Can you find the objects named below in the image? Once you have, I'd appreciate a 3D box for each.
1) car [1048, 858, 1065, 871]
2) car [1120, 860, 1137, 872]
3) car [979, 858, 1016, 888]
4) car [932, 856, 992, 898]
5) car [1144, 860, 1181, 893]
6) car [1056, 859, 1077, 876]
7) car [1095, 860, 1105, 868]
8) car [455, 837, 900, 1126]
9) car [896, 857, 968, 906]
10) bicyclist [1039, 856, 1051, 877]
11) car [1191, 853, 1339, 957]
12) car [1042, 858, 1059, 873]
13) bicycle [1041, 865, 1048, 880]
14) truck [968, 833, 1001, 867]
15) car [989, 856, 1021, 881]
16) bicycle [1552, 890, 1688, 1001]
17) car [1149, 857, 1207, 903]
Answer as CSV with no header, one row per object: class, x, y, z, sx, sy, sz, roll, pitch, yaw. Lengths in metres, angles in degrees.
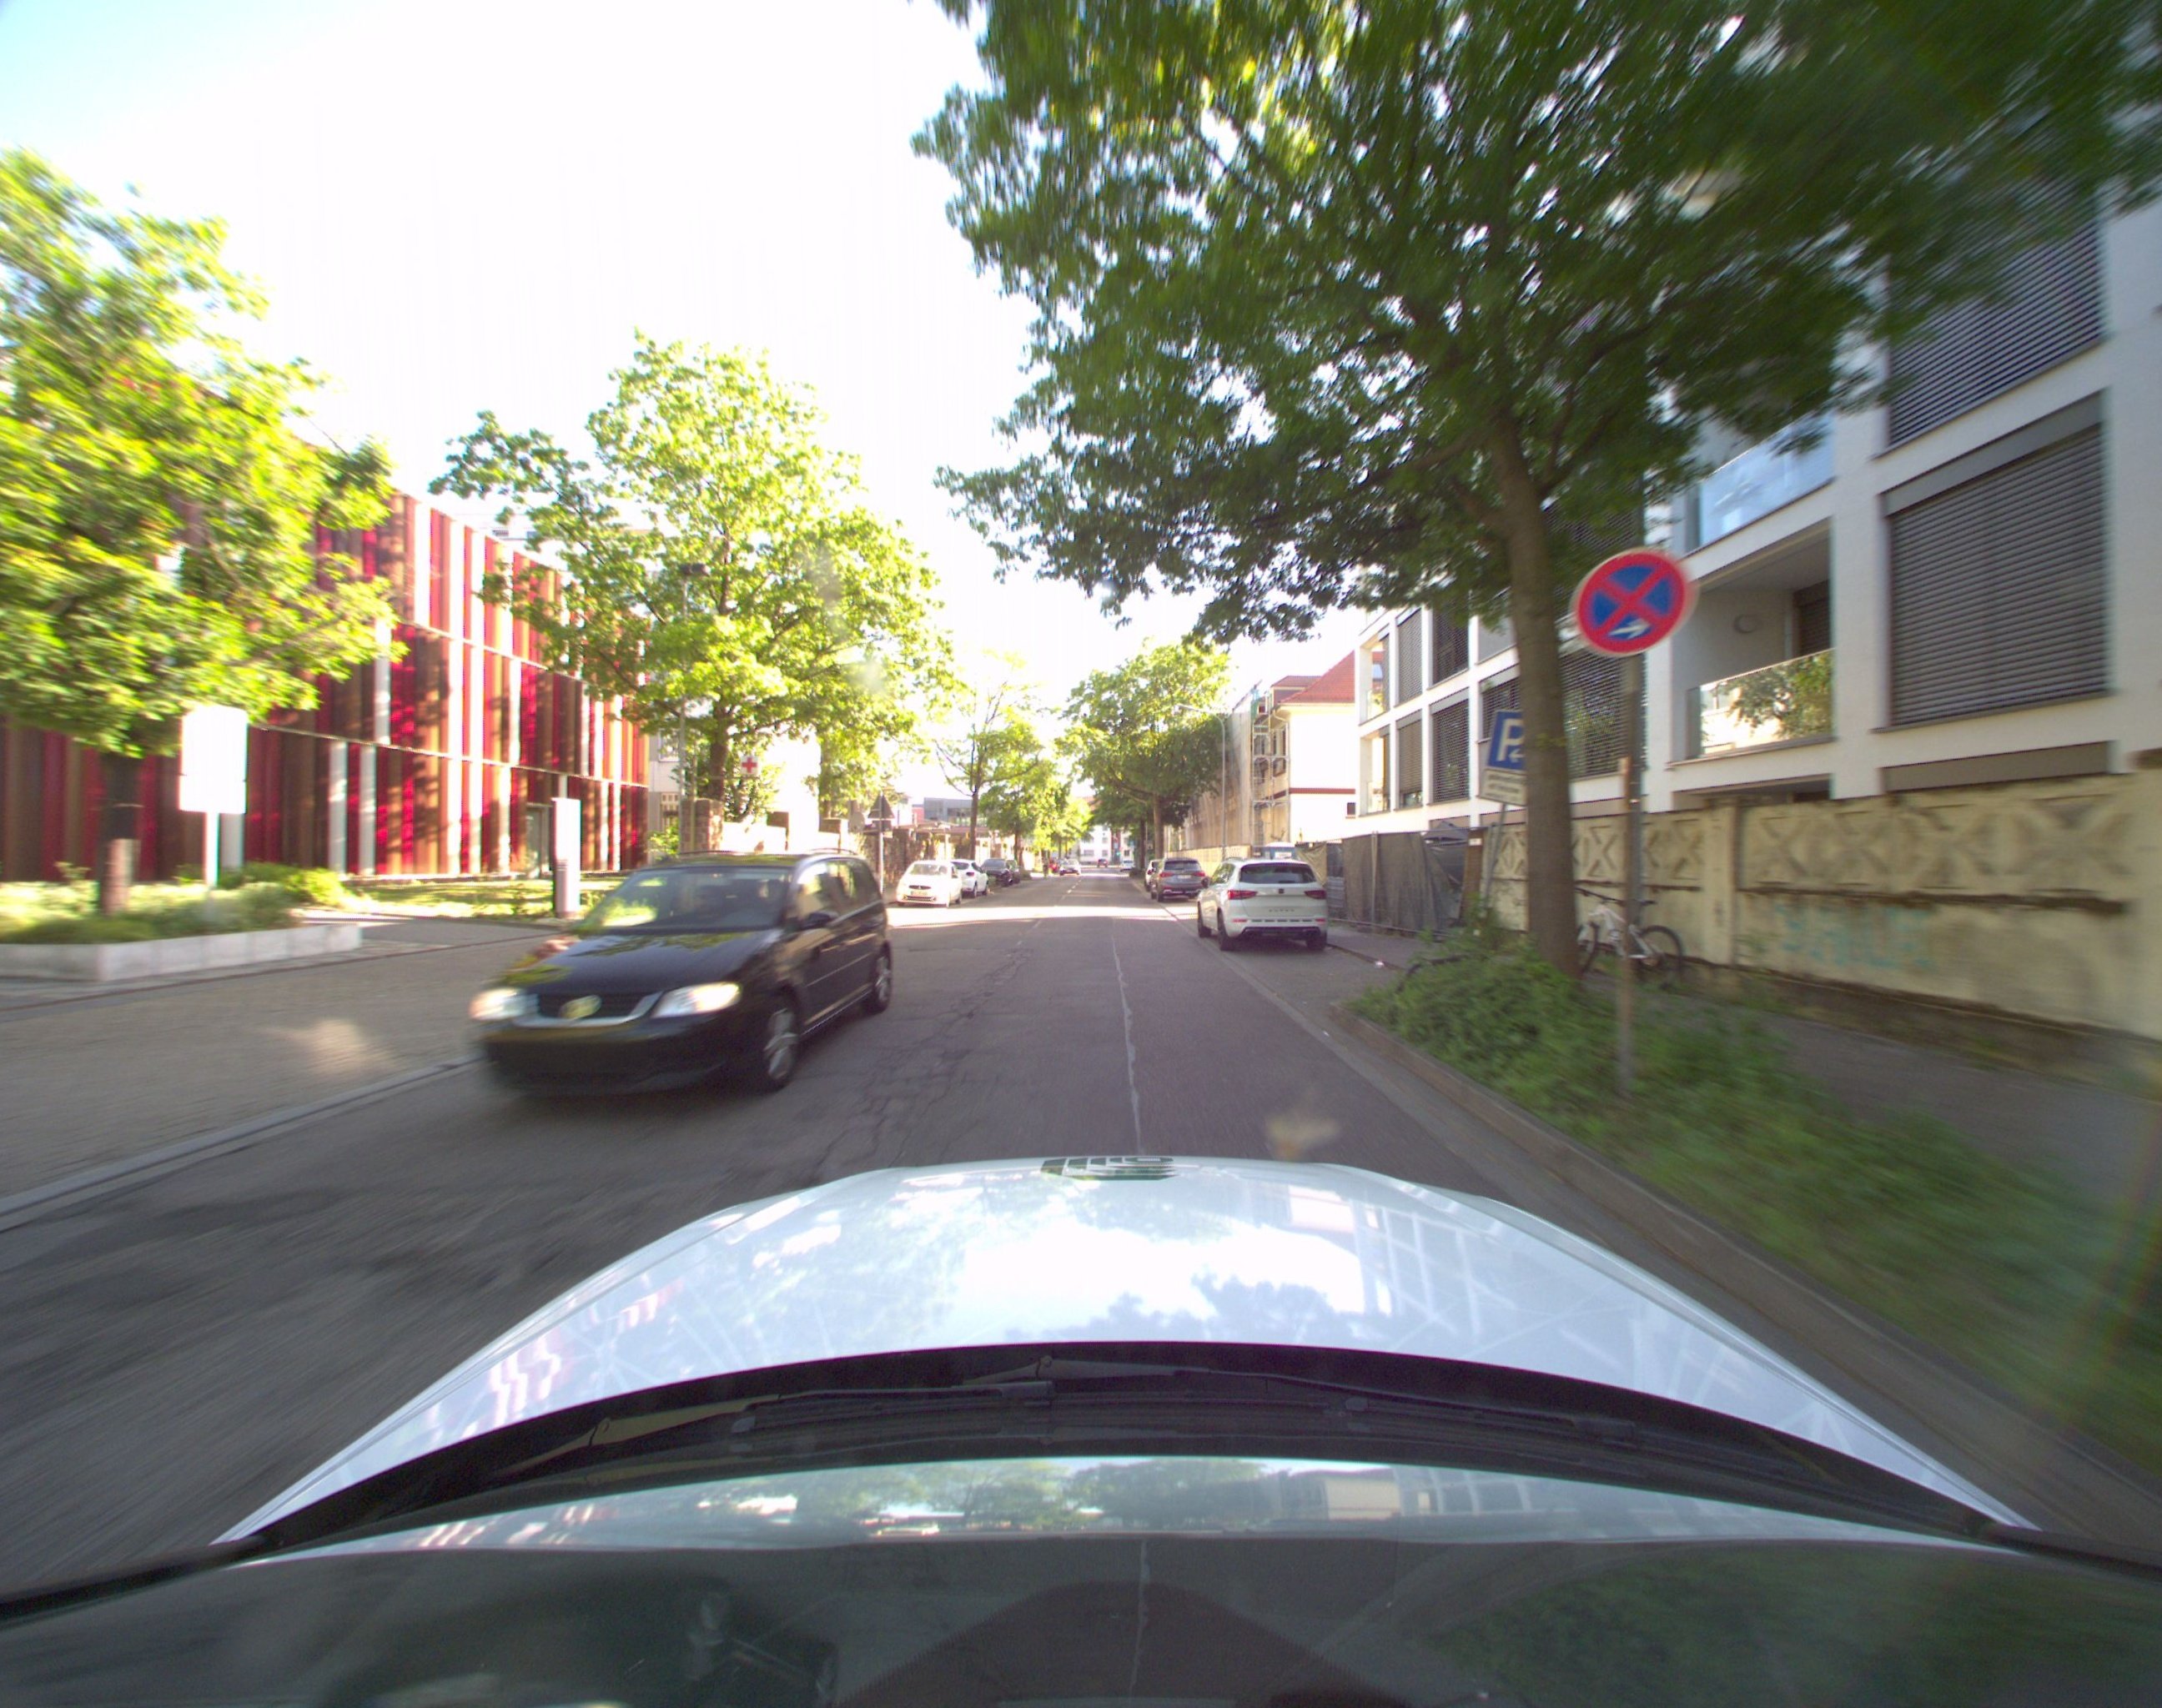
car,-3.071,1.320,102.473,1.730,1.592,4.109,1,0,3
car,5.557,1.382,96.342,1.826,1.323,4.496,0,-1,1
car,-4.553,1.011,44.964,1.568,1.515,4.044,1,0,1
car,-4.784,0.917,33.347,1.670,1.511,3.851,4,0,2
car,3.950,1.048,39.934,1.716,1.510,3.996,-1,0,4
car,-1.319,1.247,75.949,1.816,1.436,3.968,3,0,0
car,3.461,1.804,146.619,1.633,1.443,3.423,2,-1,2
car,-2.743,0.729,6.656,1.638,1.611,4.020,-1,0,-1
car,-4.890,0.873,27.129,1.568,1.402,3.751,4,0,1
bicyclist,-2.740,0.946,62.322,0.717,1.522,1.006,2,-1,4
car,3.246,0.826,15.164,1.787,1.615,4.125,2,0,0
car,-3.304,1.261,89.063,1.603,1.459,3.709,2,-1,2
bicycle,-2.790,1.407,62.306,0.356,1.120,1.867,2,-1,3
truck,-11.295,-0.382,95.672,2.723,3.711,7.429,2,-1,1
car,-4.667,0.851,50.378,1.683,1.422,3.834,2,-1,-3
bicycle,5.979,0.965,9.153,0.335,1.041,1.831,1,-1,1
car,3.643,0.944,31.247,1.707,1.638,4.301,1,0,0
